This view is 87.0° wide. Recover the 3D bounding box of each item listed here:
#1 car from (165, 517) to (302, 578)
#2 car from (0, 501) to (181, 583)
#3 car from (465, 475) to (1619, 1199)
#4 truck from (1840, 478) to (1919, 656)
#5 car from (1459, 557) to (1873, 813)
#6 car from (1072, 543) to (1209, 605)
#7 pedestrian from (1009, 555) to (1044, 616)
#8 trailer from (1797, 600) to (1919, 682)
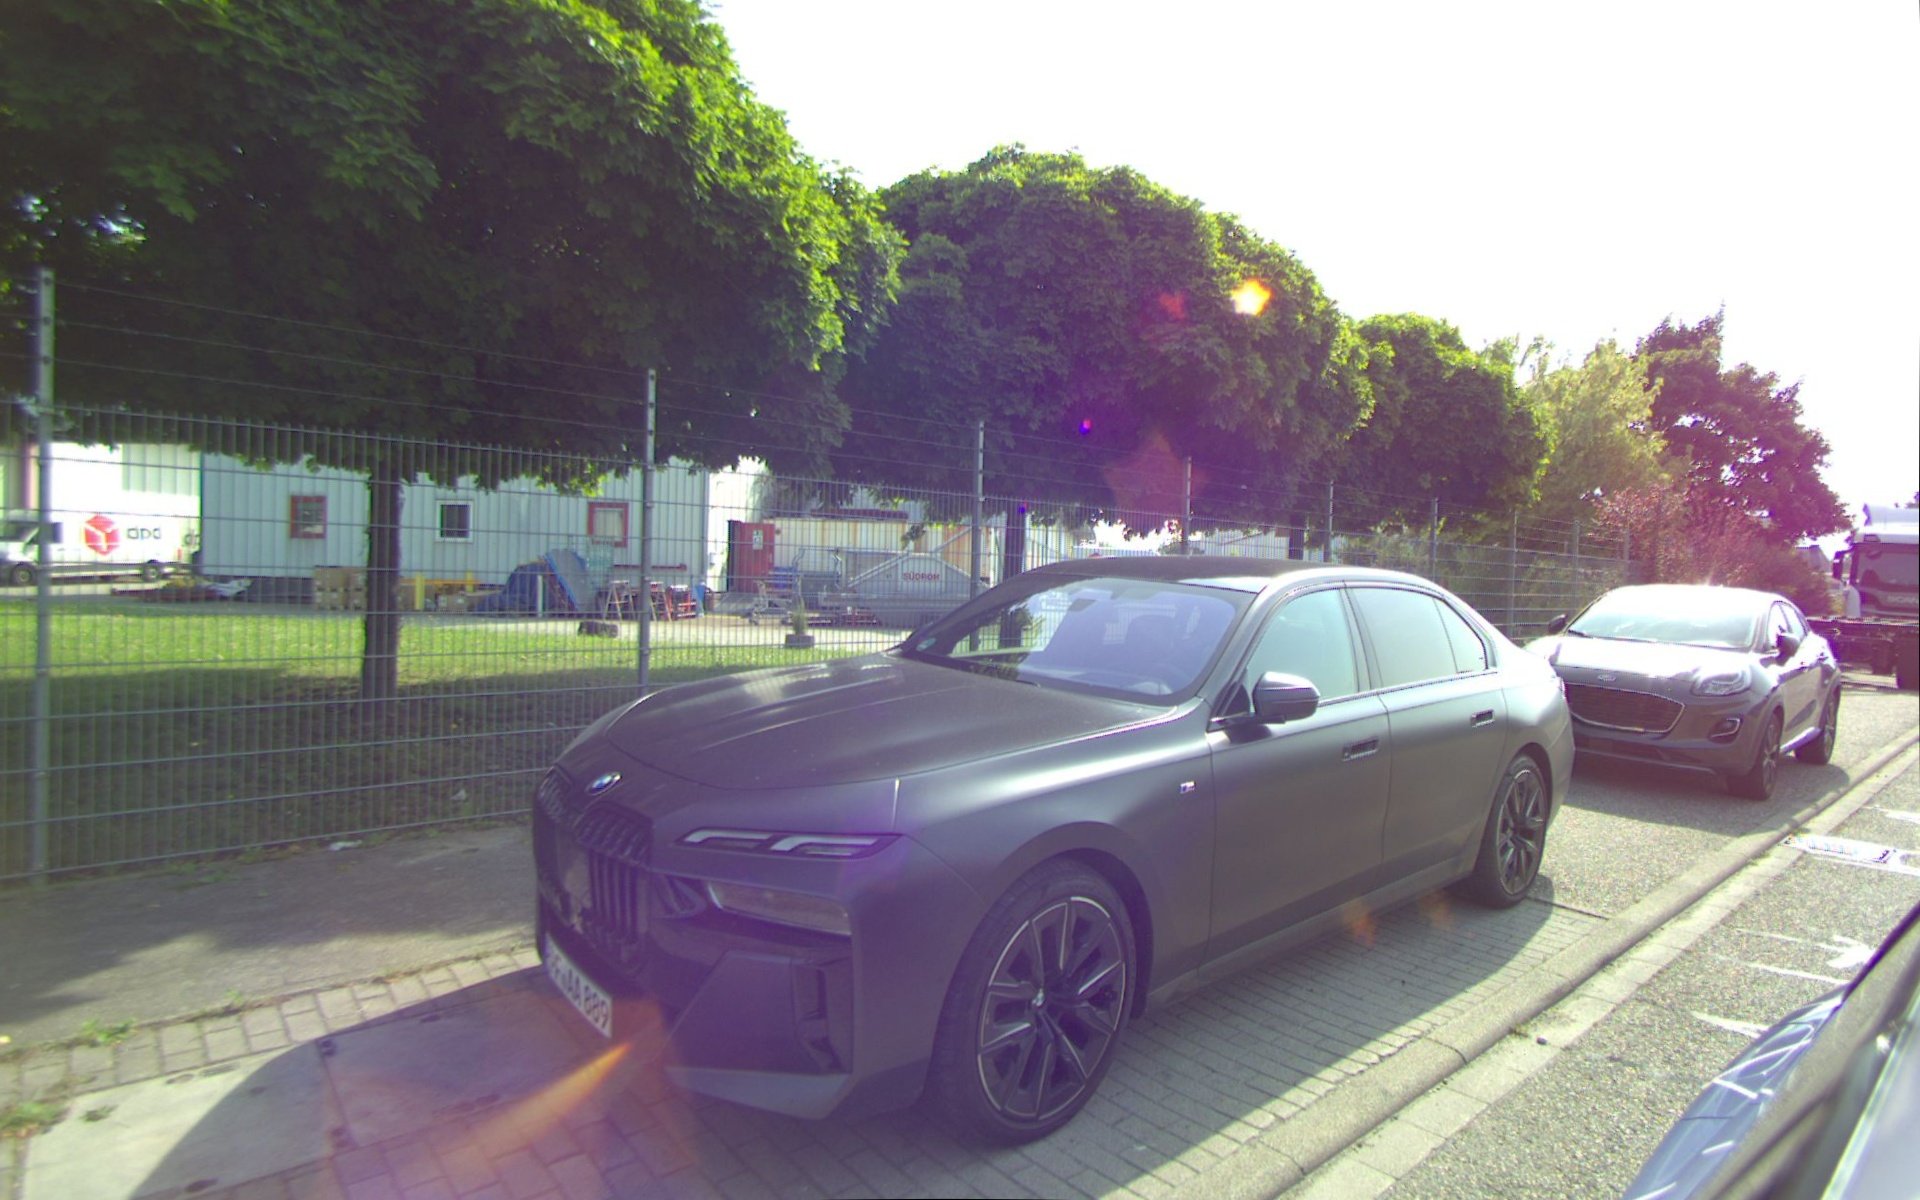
[{"bbox_3d":[-30.258,-2.182,42.186,4.773,2.317,1.925,2,2,12],"label":"car"},{"bbox_3d":[-30.443,-1.928,34.392,2.138,2.548,6.687,1,2,8],"label":"car"},{"bbox_3d":[0.853,0.474,4.320,5.028,1.593,1.885,-1,4,-41],"label":"car"},{"bbox_3d":[23.921,-0.734,24.789,5.945,4.012,2.697,0,4,-43],"label":"truck"},{"bbox_3d":[6.161,0.513,8.669,4.041,1.592,1.885,-1,5,-41],"label":"car"},{"bbox_3d":[8.510,-1.259,48.101,6.169,2.681,2.208,2,1,9],"label":"car"},{"bbox_3d":[1.931,-0.428,29.345,0.847,1.743,0.628,2,1,18],"label":"pedestrian"},{"bbox_3d":[18.116,0.692,19.525,7.323,1.250,1.942,0,4,-42],"label":"trailer"}]
